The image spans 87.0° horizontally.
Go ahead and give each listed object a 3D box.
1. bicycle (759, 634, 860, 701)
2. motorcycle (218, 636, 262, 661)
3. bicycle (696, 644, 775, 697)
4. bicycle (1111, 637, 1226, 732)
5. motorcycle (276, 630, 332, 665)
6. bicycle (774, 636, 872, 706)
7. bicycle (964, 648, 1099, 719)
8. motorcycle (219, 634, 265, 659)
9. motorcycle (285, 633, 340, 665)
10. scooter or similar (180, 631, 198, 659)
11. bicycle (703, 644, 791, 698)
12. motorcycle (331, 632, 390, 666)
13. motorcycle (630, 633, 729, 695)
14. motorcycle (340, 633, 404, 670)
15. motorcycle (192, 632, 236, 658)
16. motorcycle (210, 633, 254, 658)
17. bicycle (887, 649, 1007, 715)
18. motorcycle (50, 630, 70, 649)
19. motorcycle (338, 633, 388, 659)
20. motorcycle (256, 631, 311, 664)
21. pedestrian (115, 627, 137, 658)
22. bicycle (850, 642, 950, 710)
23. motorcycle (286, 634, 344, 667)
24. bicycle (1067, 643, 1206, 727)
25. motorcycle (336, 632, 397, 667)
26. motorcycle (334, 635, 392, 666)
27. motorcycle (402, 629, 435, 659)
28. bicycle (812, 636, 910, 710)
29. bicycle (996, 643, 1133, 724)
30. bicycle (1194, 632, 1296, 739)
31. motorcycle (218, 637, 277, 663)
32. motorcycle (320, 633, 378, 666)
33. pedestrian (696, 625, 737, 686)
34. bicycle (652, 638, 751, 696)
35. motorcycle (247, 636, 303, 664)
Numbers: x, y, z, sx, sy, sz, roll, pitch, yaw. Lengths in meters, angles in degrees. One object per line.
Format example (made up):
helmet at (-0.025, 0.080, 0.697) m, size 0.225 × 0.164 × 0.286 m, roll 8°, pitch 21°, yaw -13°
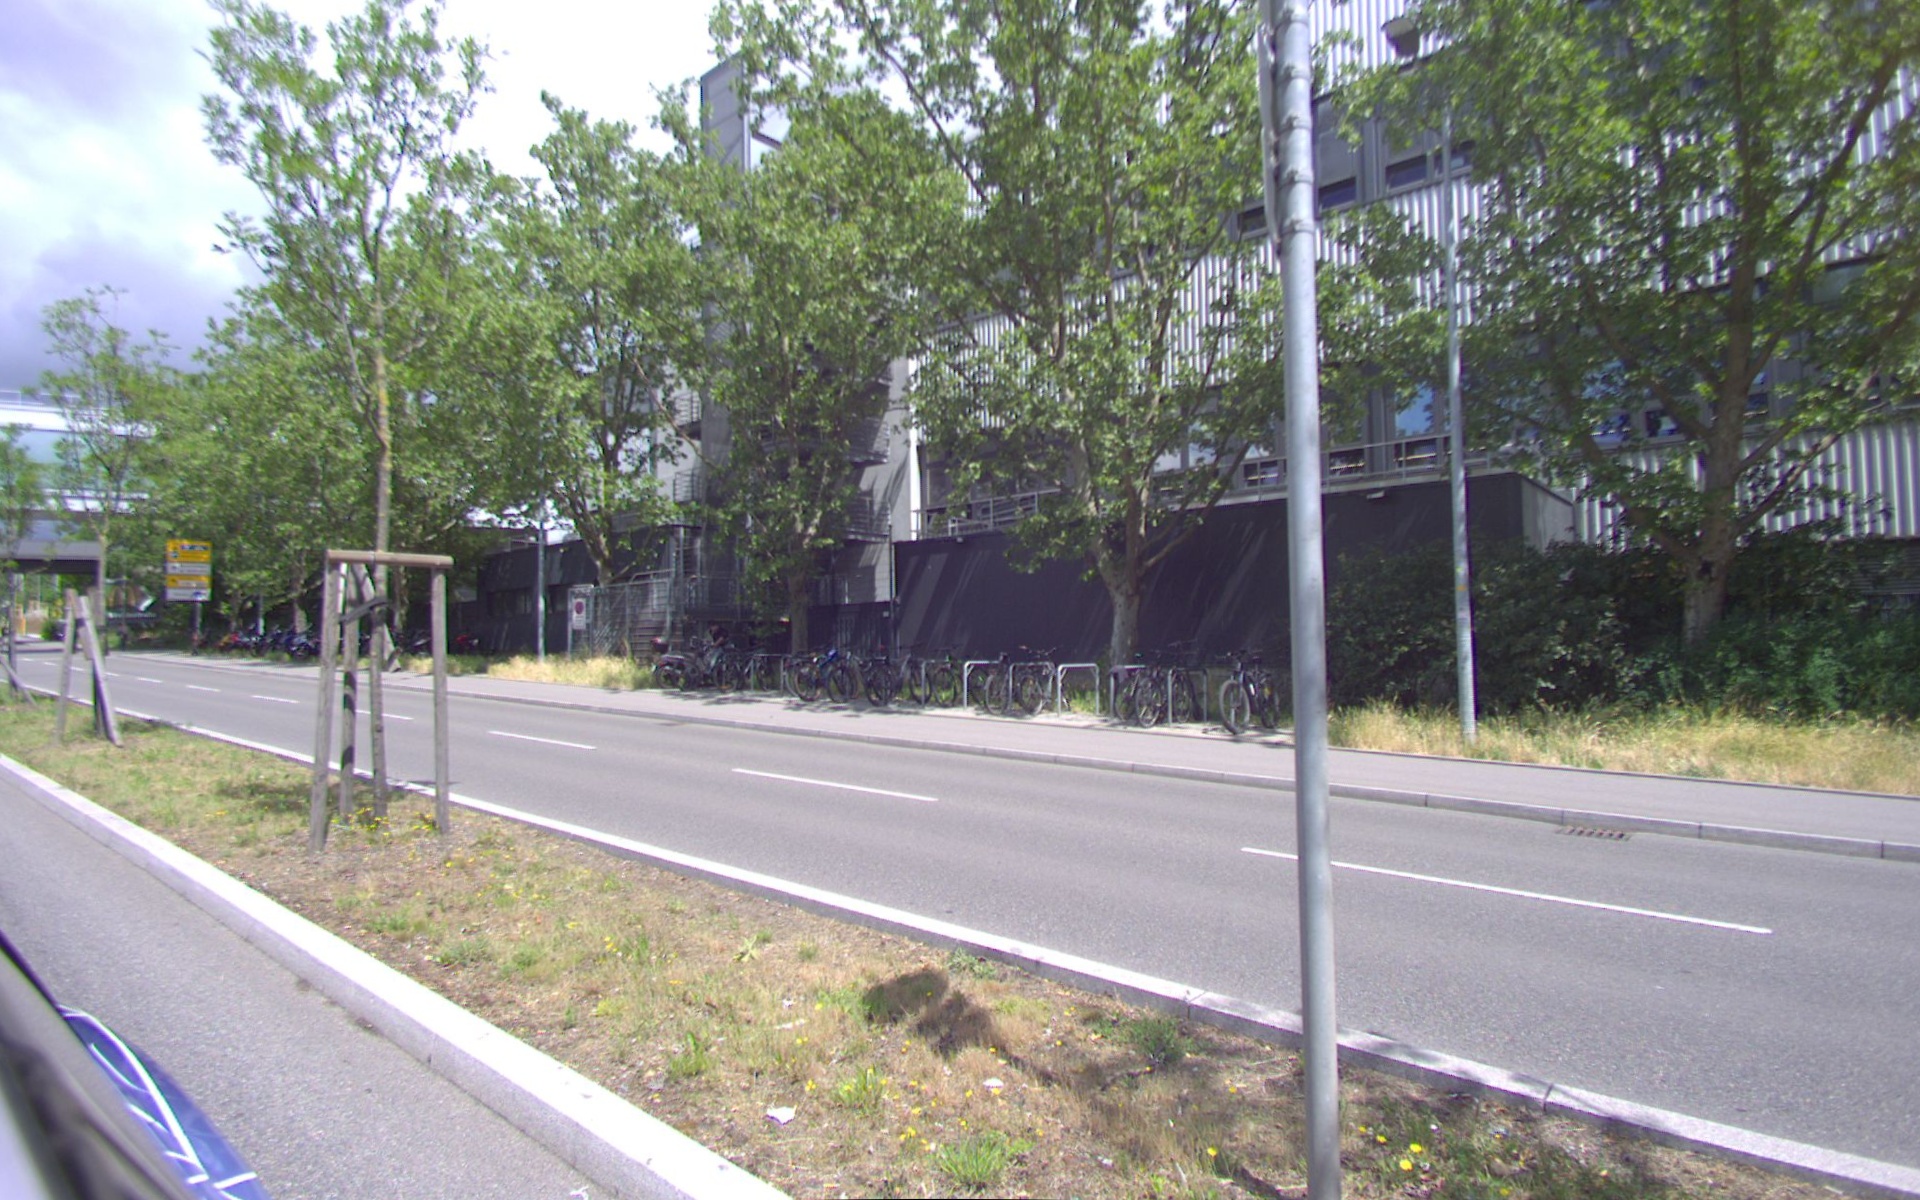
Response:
bicycle at (-3.136, 1.383, 21.257) m, size 0.805 × 1.292 × 2.113 m, roll -2°, pitch -1°, yaw 38°
motorcycle at (-34.647, 2.324, 48.708) m, size 0.776 × 1.131 × 1.574 m, roll -4°, pitch -1°, yaw 41°
bicycle at (-4.995, 1.543, 22.638) m, size 0.421 × 1.083 × 1.905 m, roll -2°, pitch -1°, yaw 38°
bicycle at (3.157, 1.217, 15.160) m, size 0.555 × 1.267 × 2.379 m, roll -2°, pitch -2°, yaw 42°
motorcycle at (-27.716, 2.008, 42.771) m, size 1.905 × 1.354 × 0.867 m, roll -2°, pitch -1°, yaw -30°
bicycle at (-2.705, 1.381, 20.152) m, size 0.805 × 1.292 × 1.900 m, roll -2°, pitch -1°, yaw 38°
bicycle at (1.261, 1.383, 17.287) m, size 2.532 × 1.104 × 0.697 m, roll 2°, pitch -3°, yaw -40°
motorcycle at (-33.746, 2.182, 47.572) m, size 0.776 × 1.041 × 1.574 m, roll -4°, pitch -1°, yaw 41°
motorcycle at (-26.752, 2.024, 41.796) m, size 1.853 × 1.188 × 0.817 m, roll -2°, pitch -1°, yaw -35°
scooter or similar at (-35.865, 2.067, 47.077) m, size 1.478 × 1.245 × 0.350 m, roll 0°, pitch 0°, yaw 40°
bicycle at (-4.672, 1.534, 22.293) m, size 0.496 × 1.070 × 2.061 m, roll -2°, pitch -1°, yaw 38°
motorcycle at (-23.516, 1.907, 39.745) m, size 0.655 × 1.219 × 1.857 m, roll -4°, pitch -1°, yaw 43°
motorcycle at (-6.406, 1.435, 23.215) m, size 0.805 × 1.319 × 2.113 m, roll -2°, pitch -1°, yaw 38°
motorcycle at (-21.013, 1.831, 36.180) m, size 1.855 × 1.182 × 0.746 m, roll -2°, pitch -1°, yaw -41°
motorcycle at (-37.446, 2.270, 50.806) m, size 1.721 × 1.180 × 0.777 m, roll -2°, pitch -1°, yaw -42°
motorcycle at (-35.614, 2.219, 49.512) m, size 0.773 × 1.131 × 1.579 m, roll -3°, pitch -1°, yaw 31°
bicycle at (-0.184, 1.464, 18.546) m, size 0.848 × 1.014 × 2.814 m, roll -1°, pitch -1°, yaw 31°
motorcycle at (-59.349, 2.588, 66.728) m, size 2.255 × 1.207 × 0.633 m, roll 0°, pitch 1°, yaw 39°
motorcycle at (-28.179, 2.169, 47.808) m, size 1.904 × 1.124 × 0.924 m, roll -2°, pitch -1°, yaw -23°
motorcycle at (-29.637, 2.069, 44.348) m, size 1.905 × 1.300 × 0.895 m, roll -2°, pitch -1°, yaw -30°
pedestrian at (-46.194, 2.340, 56.045) m, size 0.812 × 1.624 × 0.760 m, roll -1°, pitch 1°, yaw 39°
bicycle at (-1.094, 1.380, 18.849) m, size 0.805 × 1.131 × 1.900 m, roll -2°, pitch -1°, yaw 38°
motorcycle at (-25.925, 2.030, 40.688) m, size 1.855 × 1.188 × 0.816 m, roll -2°, pitch -1°, yaw -41°
bicycle at (2.869, 1.319, 16.230) m, size 2.533 × 1.166 × 0.727 m, roll 0°, pitch -1°, yaw -40°
motorcycle at (-22.173, 1.835, 37.821) m, size 1.855 × 1.195 × 0.730 m, roll -2°, pitch 0°, yaw -42°
motorcycle at (-22.977, 1.936, 38.970) m, size 1.853 × 1.093 × 0.796 m, roll -2°, pitch -1°, yaw -35°
motorcycle at (-23.078, 1.886, 43.121) m, size 1.983 × 1.219 × 0.645 m, roll -4°, pitch -1°, yaw 45°
bicycle at (-1.880, 1.369, 19.457) m, size 0.805 × 1.292 × 1.900 m, roll -1°, pitch -1°, yaw 38°
bicycle at (1.753, 1.333, 16.619) m, size 2.533 × 1.166 × 0.645 m, roll 0°, pitch -1°, yaw -40°
bicycle at (4.089, 1.162, 14.390) m, size 0.489 × 1.374 × 2.144 m, roll -2°, pitch -2°, yaw 42°
motorcycle at (-32.287, 2.281, 45.875) m, size 0.917 × 1.124 × 1.919 m, roll 0°, pitch -3°, yaw 28°
motorcycle at (-24.395, 1.967, 40.438) m, size 0.698 × 1.188 × 1.857 m, roll -4°, pitch -1°, yaw 43°
pedestrian at (-6.457, 1.462, 26.840) m, size 0.744 × 1.563 × 0.822 m, roll 0°, pitch -2°, yaw -40°
bicycle at (-5.812, 1.484, 22.821) m, size 0.805 × 1.189 × 2.113 m, roll -2°, pitch -1°, yaw 38°
motorcycle at (-30.645, 2.212, 45.280) m, size 1.904 × 1.124 × 0.924 m, roll -2°, pitch -1°, yaw -23°
